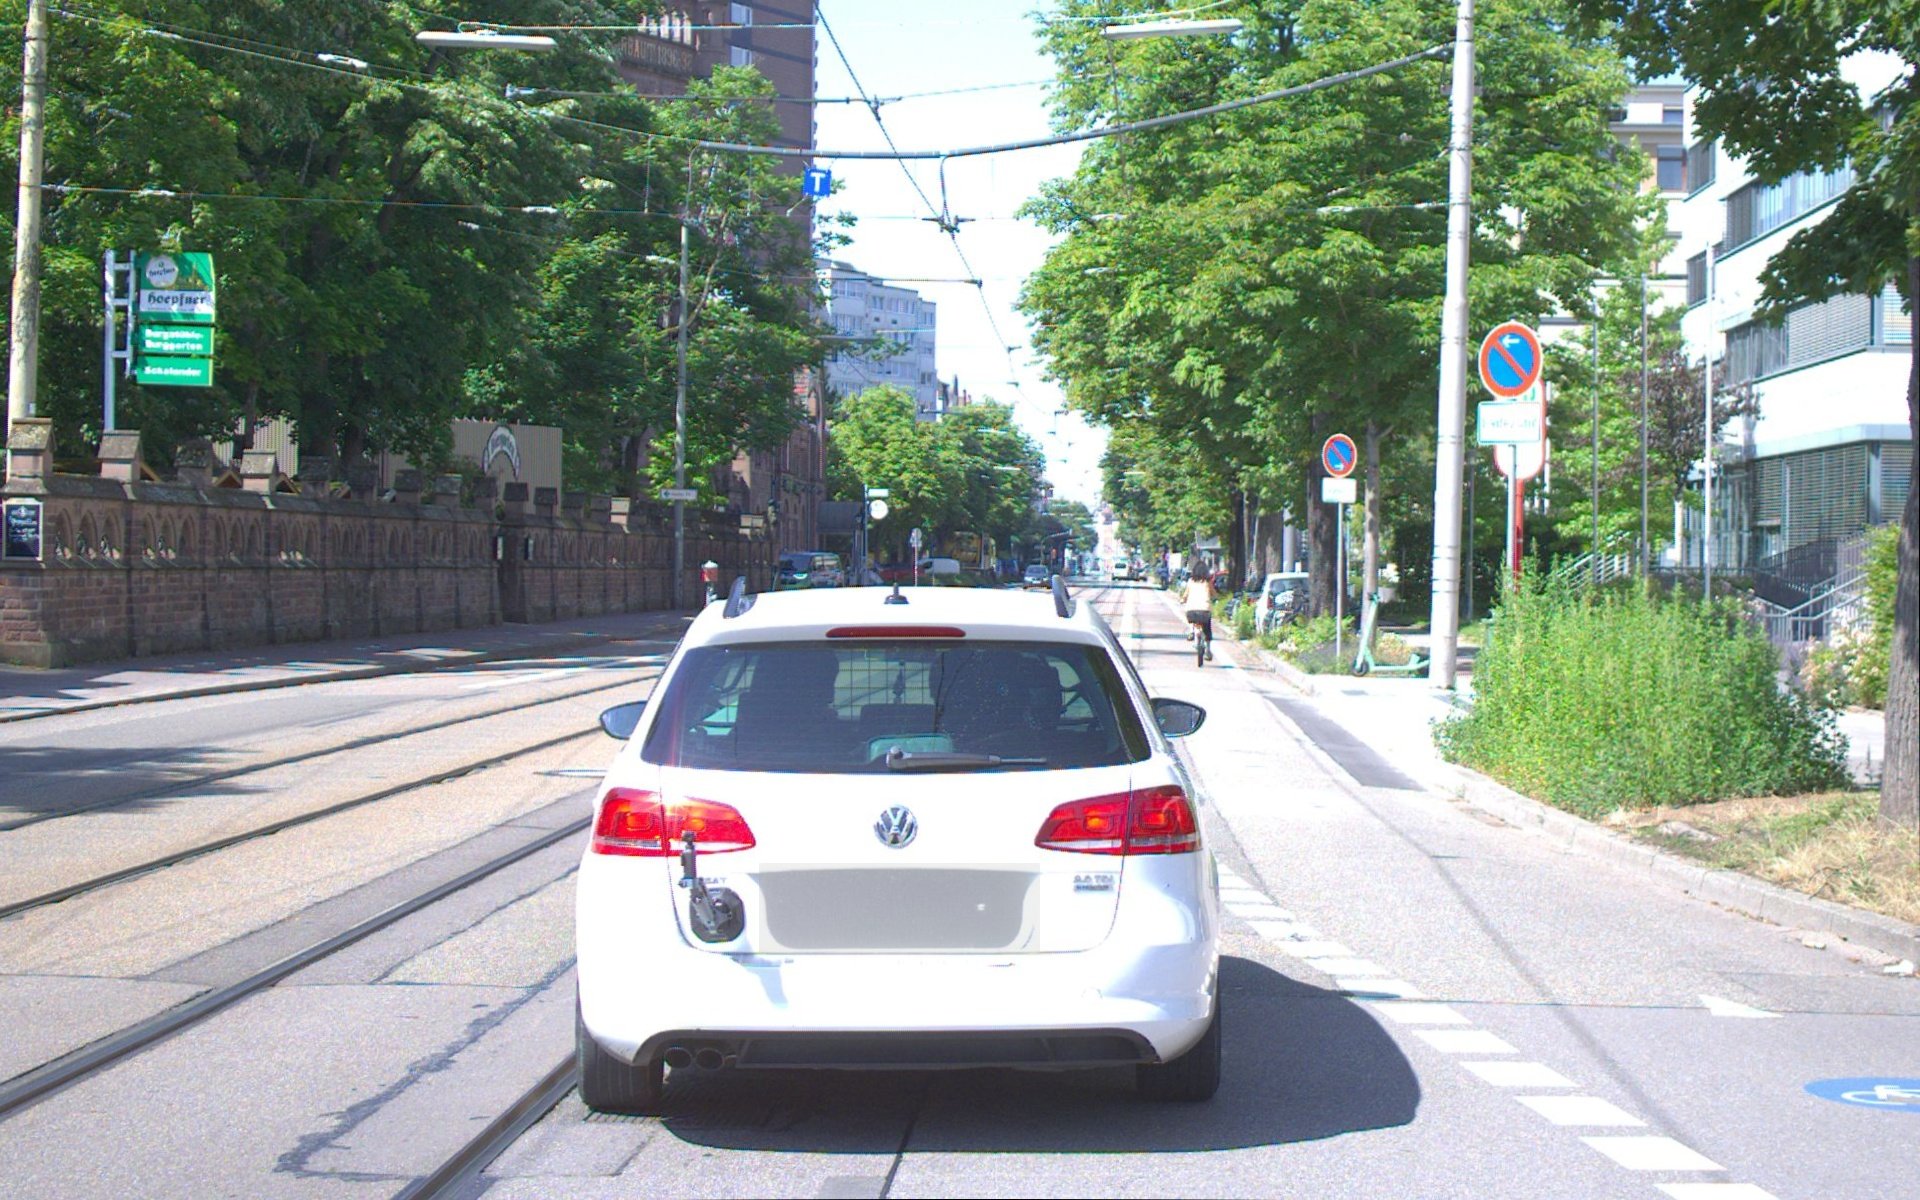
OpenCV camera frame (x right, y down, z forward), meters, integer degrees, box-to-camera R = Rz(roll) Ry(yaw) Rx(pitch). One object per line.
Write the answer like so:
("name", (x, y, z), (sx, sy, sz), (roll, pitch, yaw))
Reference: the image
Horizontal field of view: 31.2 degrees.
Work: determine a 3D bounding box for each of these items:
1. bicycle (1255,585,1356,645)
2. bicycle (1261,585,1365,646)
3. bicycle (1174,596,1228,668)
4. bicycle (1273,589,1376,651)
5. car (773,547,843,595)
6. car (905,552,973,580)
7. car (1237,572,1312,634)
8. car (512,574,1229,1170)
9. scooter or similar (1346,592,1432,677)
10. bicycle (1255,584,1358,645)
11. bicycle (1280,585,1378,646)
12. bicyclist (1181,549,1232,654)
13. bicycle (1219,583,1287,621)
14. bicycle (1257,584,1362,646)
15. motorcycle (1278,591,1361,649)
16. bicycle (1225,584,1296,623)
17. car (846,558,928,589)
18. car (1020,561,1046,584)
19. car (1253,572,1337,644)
("bicycle", (6.814, 0.296, 67.799), (1.885, 1.079, 0.551), (3, 1, 1))
("bicycle", (6.768, 0.299, 65.945), (1.911, 1.079, 0.551), (3, 1, 1))
("bicycle", (3.829, 0.501, 54.684), (0.811, 1.074, 2.012), (1, 1, 4))
("bicycle", (6.458, 0.346, 60.959), (1.774, 1.079, 0.596), (0, 1, 1))
("car", (-5.755, -1.104, 130.724), (1.994, 1.751, 4.711), (0, 1, 5))
("car", (-1.388, -2.208, 224.760), (3.987, 1.809, 2.000), (0, 1, -32))
("car", (7.630, 0.050, 83.708), (1.664, 1.439, 4.633), (1, 1, 4))
("car", (-0.154, 0.653, 10.643), (1.754, 1.437, 4.412), (0, 1, 2))
("scooter or similar", (5.992, 0.476, 48.021), (1.143, 1.150, 0.493), (1, 1, 9))
("bicycle", (6.767, 0.287, 67.159), (1.911, 1.079, 0.551), (3, 1, 1))
("bicycle", (6.933, 0.293, 64.685), (1.774, 1.116, 0.596), (0, 1, 1))
("bicyclist", (3.912, 0.021, 54.651), (0.786, 1.623, 0.738), (0, 2, 3))
("bicycle", (7.879, 0.051, 92.455), (1.787, 1.007, 0.488), (0, 0, -1))
("bicycle", (6.757, 0.287, 66.545), (1.911, 1.079, 0.551), (3, 1, 1))
("motorcycle", (6.597, 0.371, 63.107), (1.465, 1.042, 0.534), (0, 0, 1))
("bicycle", (7.872, 0.094, 90.018), (1.787, 1.007, 0.488), (0, 0, -1))
("car", (-4.076, -1.467, 191.272), (4.116, 1.525, 1.933), (2, 1, -18))
("car", (4.569, -1.731, 214.800), (1.493, 1.380, 3.642), (0, 1, 4))
("car", (6.963, 0.145, 71.764), (1.590, 1.446, 3.945), (1, 1, 4))
